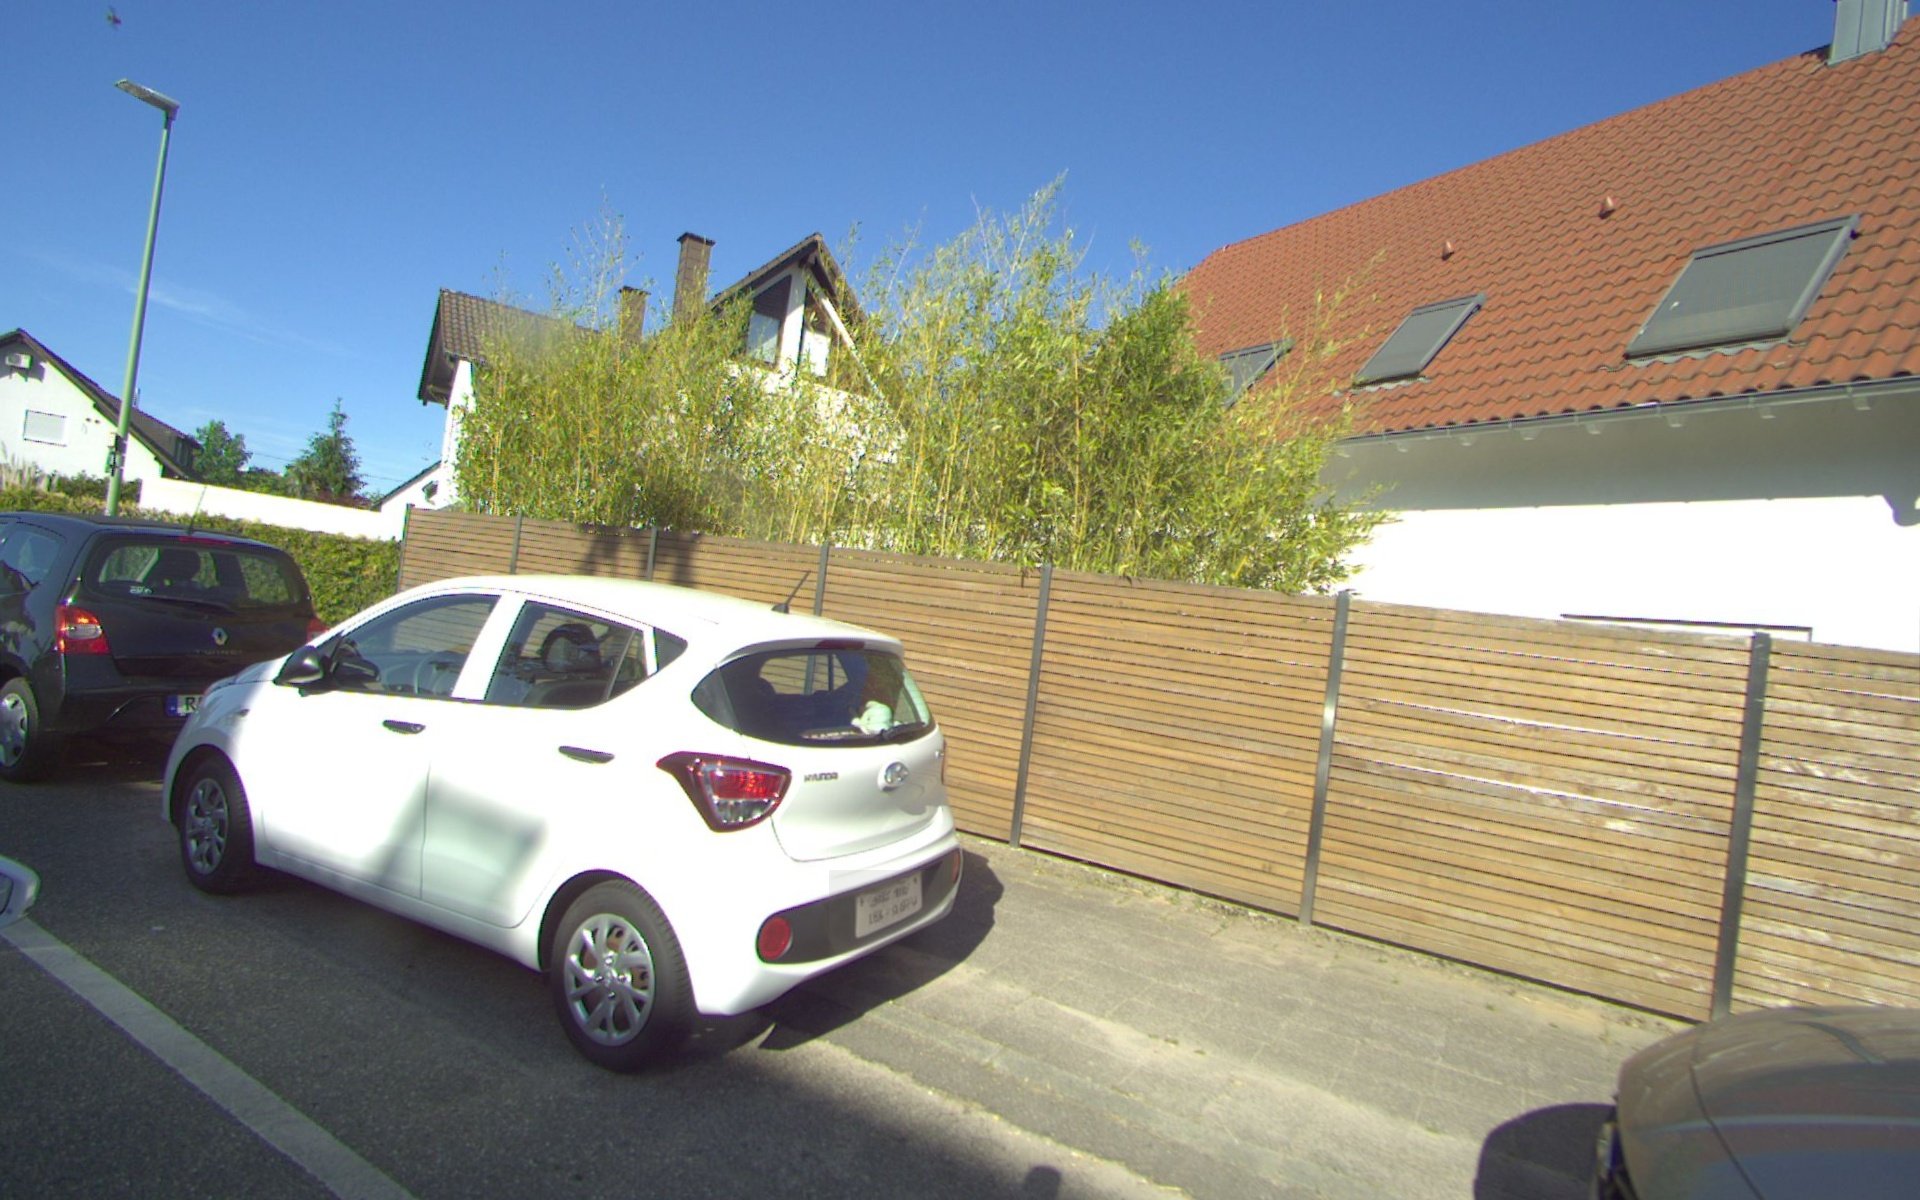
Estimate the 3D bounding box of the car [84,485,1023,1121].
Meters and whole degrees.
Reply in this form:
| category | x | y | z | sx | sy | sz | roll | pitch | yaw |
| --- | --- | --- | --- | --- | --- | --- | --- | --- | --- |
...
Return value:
| category | x | y | z | sx | sy | sz | roll | pitch | yaw |
| --- | --- | --- | --- | --- | --- | --- | --- | --- | --- |
| car | -1.862 | 0.558 | 4.500 | 3.749 | 1.619 | 1.729 | 7 | -2 | 28 |

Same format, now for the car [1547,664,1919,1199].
| category | x | y | z | sx | sy | sz | roll | pitch | yaw |
| --- | --- | --- | --- | --- | --- | --- | --- | --- | --- |
| car | 2.923 | 1.101 | 1.120 | 3.825 | 1.512 | 1.644 | 7 | -1 | 33 |

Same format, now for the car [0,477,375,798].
| category | x | y | z | sx | sy | sz | roll | pitch | yaw |
| --- | --- | --- | --- | --- | --- | --- | --- | --- | --- |
| car | -5.982 | 0.090 | 6.760 | 3.749 | 1.619 | 1.661 | 7 | -2 | 28 |
